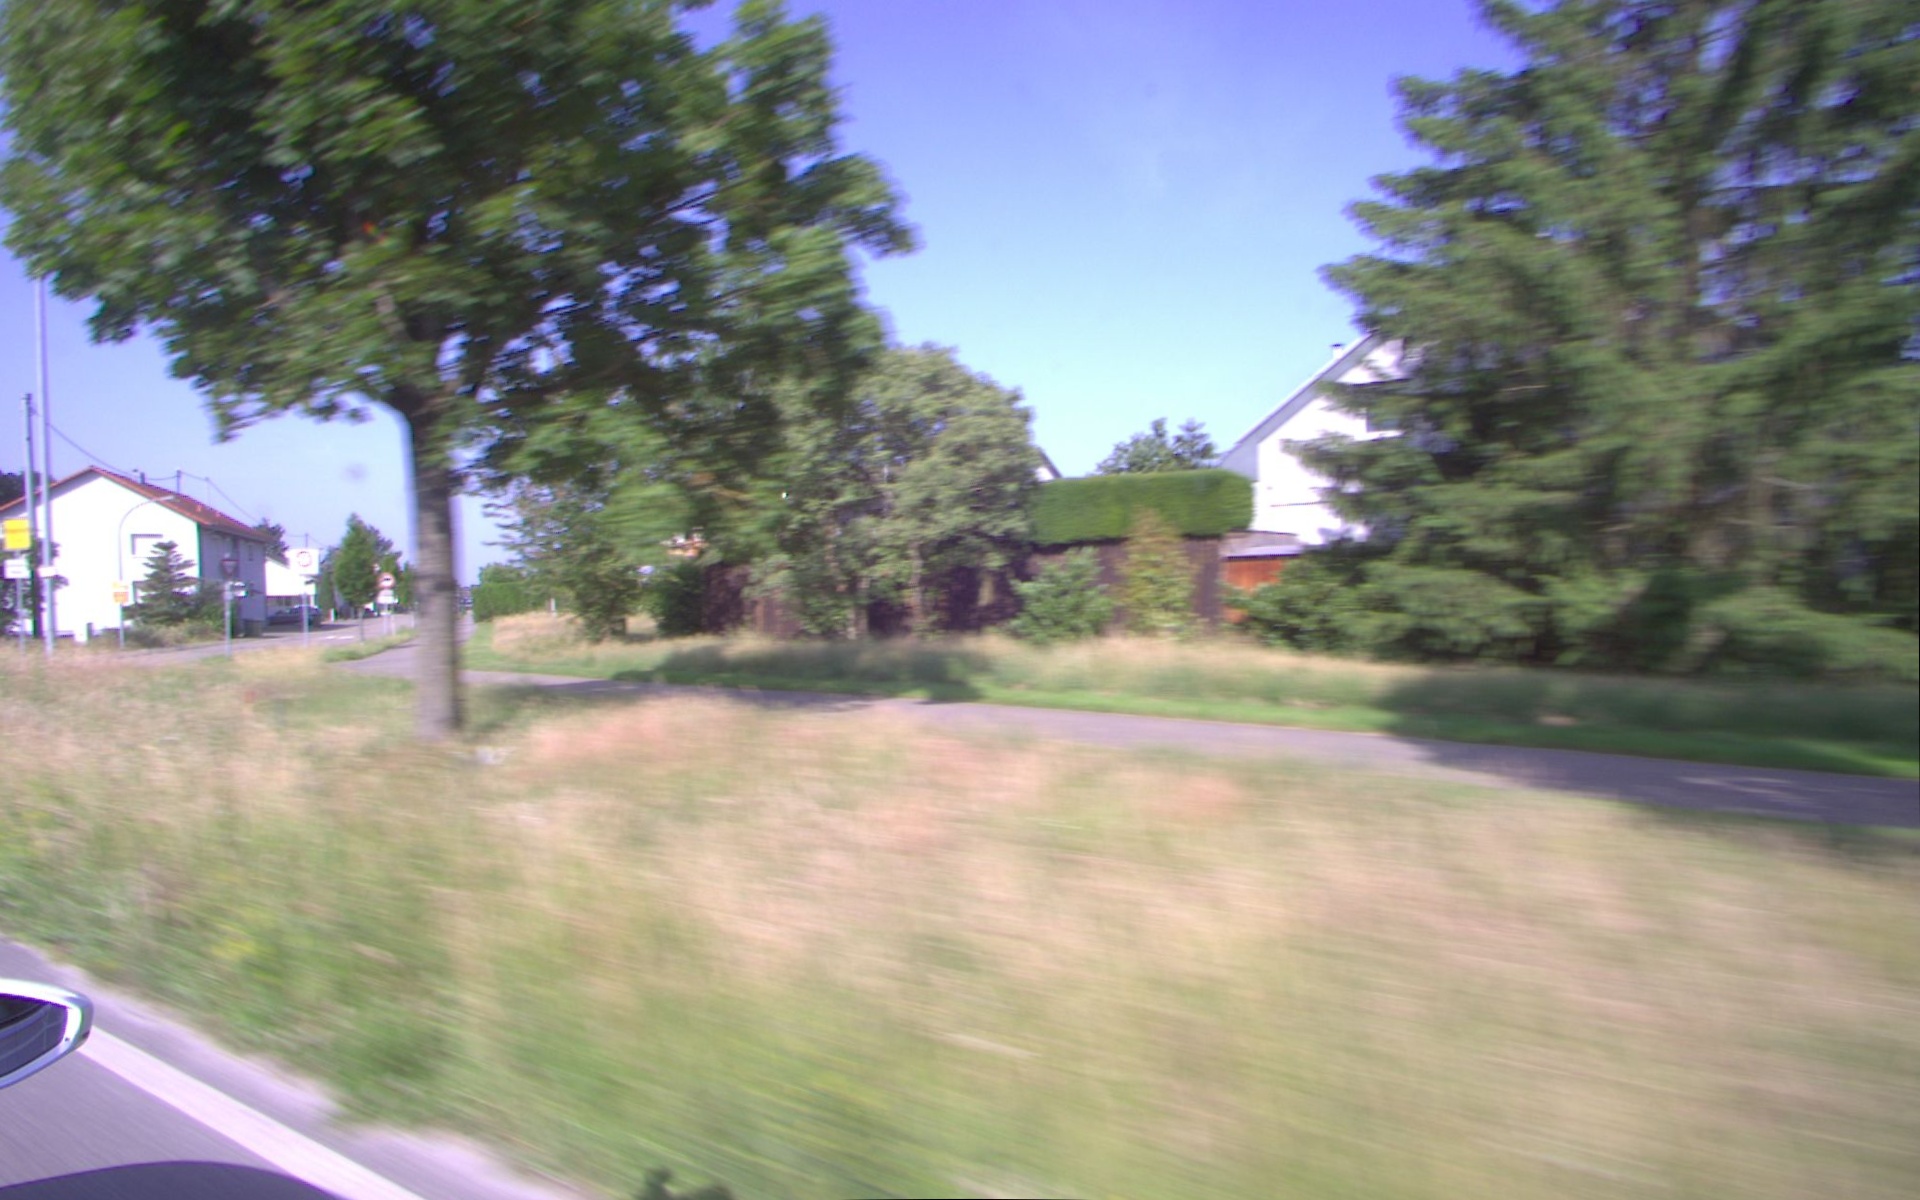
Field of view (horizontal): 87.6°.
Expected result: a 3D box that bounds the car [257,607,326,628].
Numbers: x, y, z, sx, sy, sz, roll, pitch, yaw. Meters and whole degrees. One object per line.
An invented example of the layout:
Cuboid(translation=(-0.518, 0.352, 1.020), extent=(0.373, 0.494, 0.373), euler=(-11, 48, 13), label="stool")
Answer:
Cuboid(translation=(-54.987, 1.460, 82.453), extent=(4.384, 1.720, 1.767), euler=(0, -1, -20), label="car")
